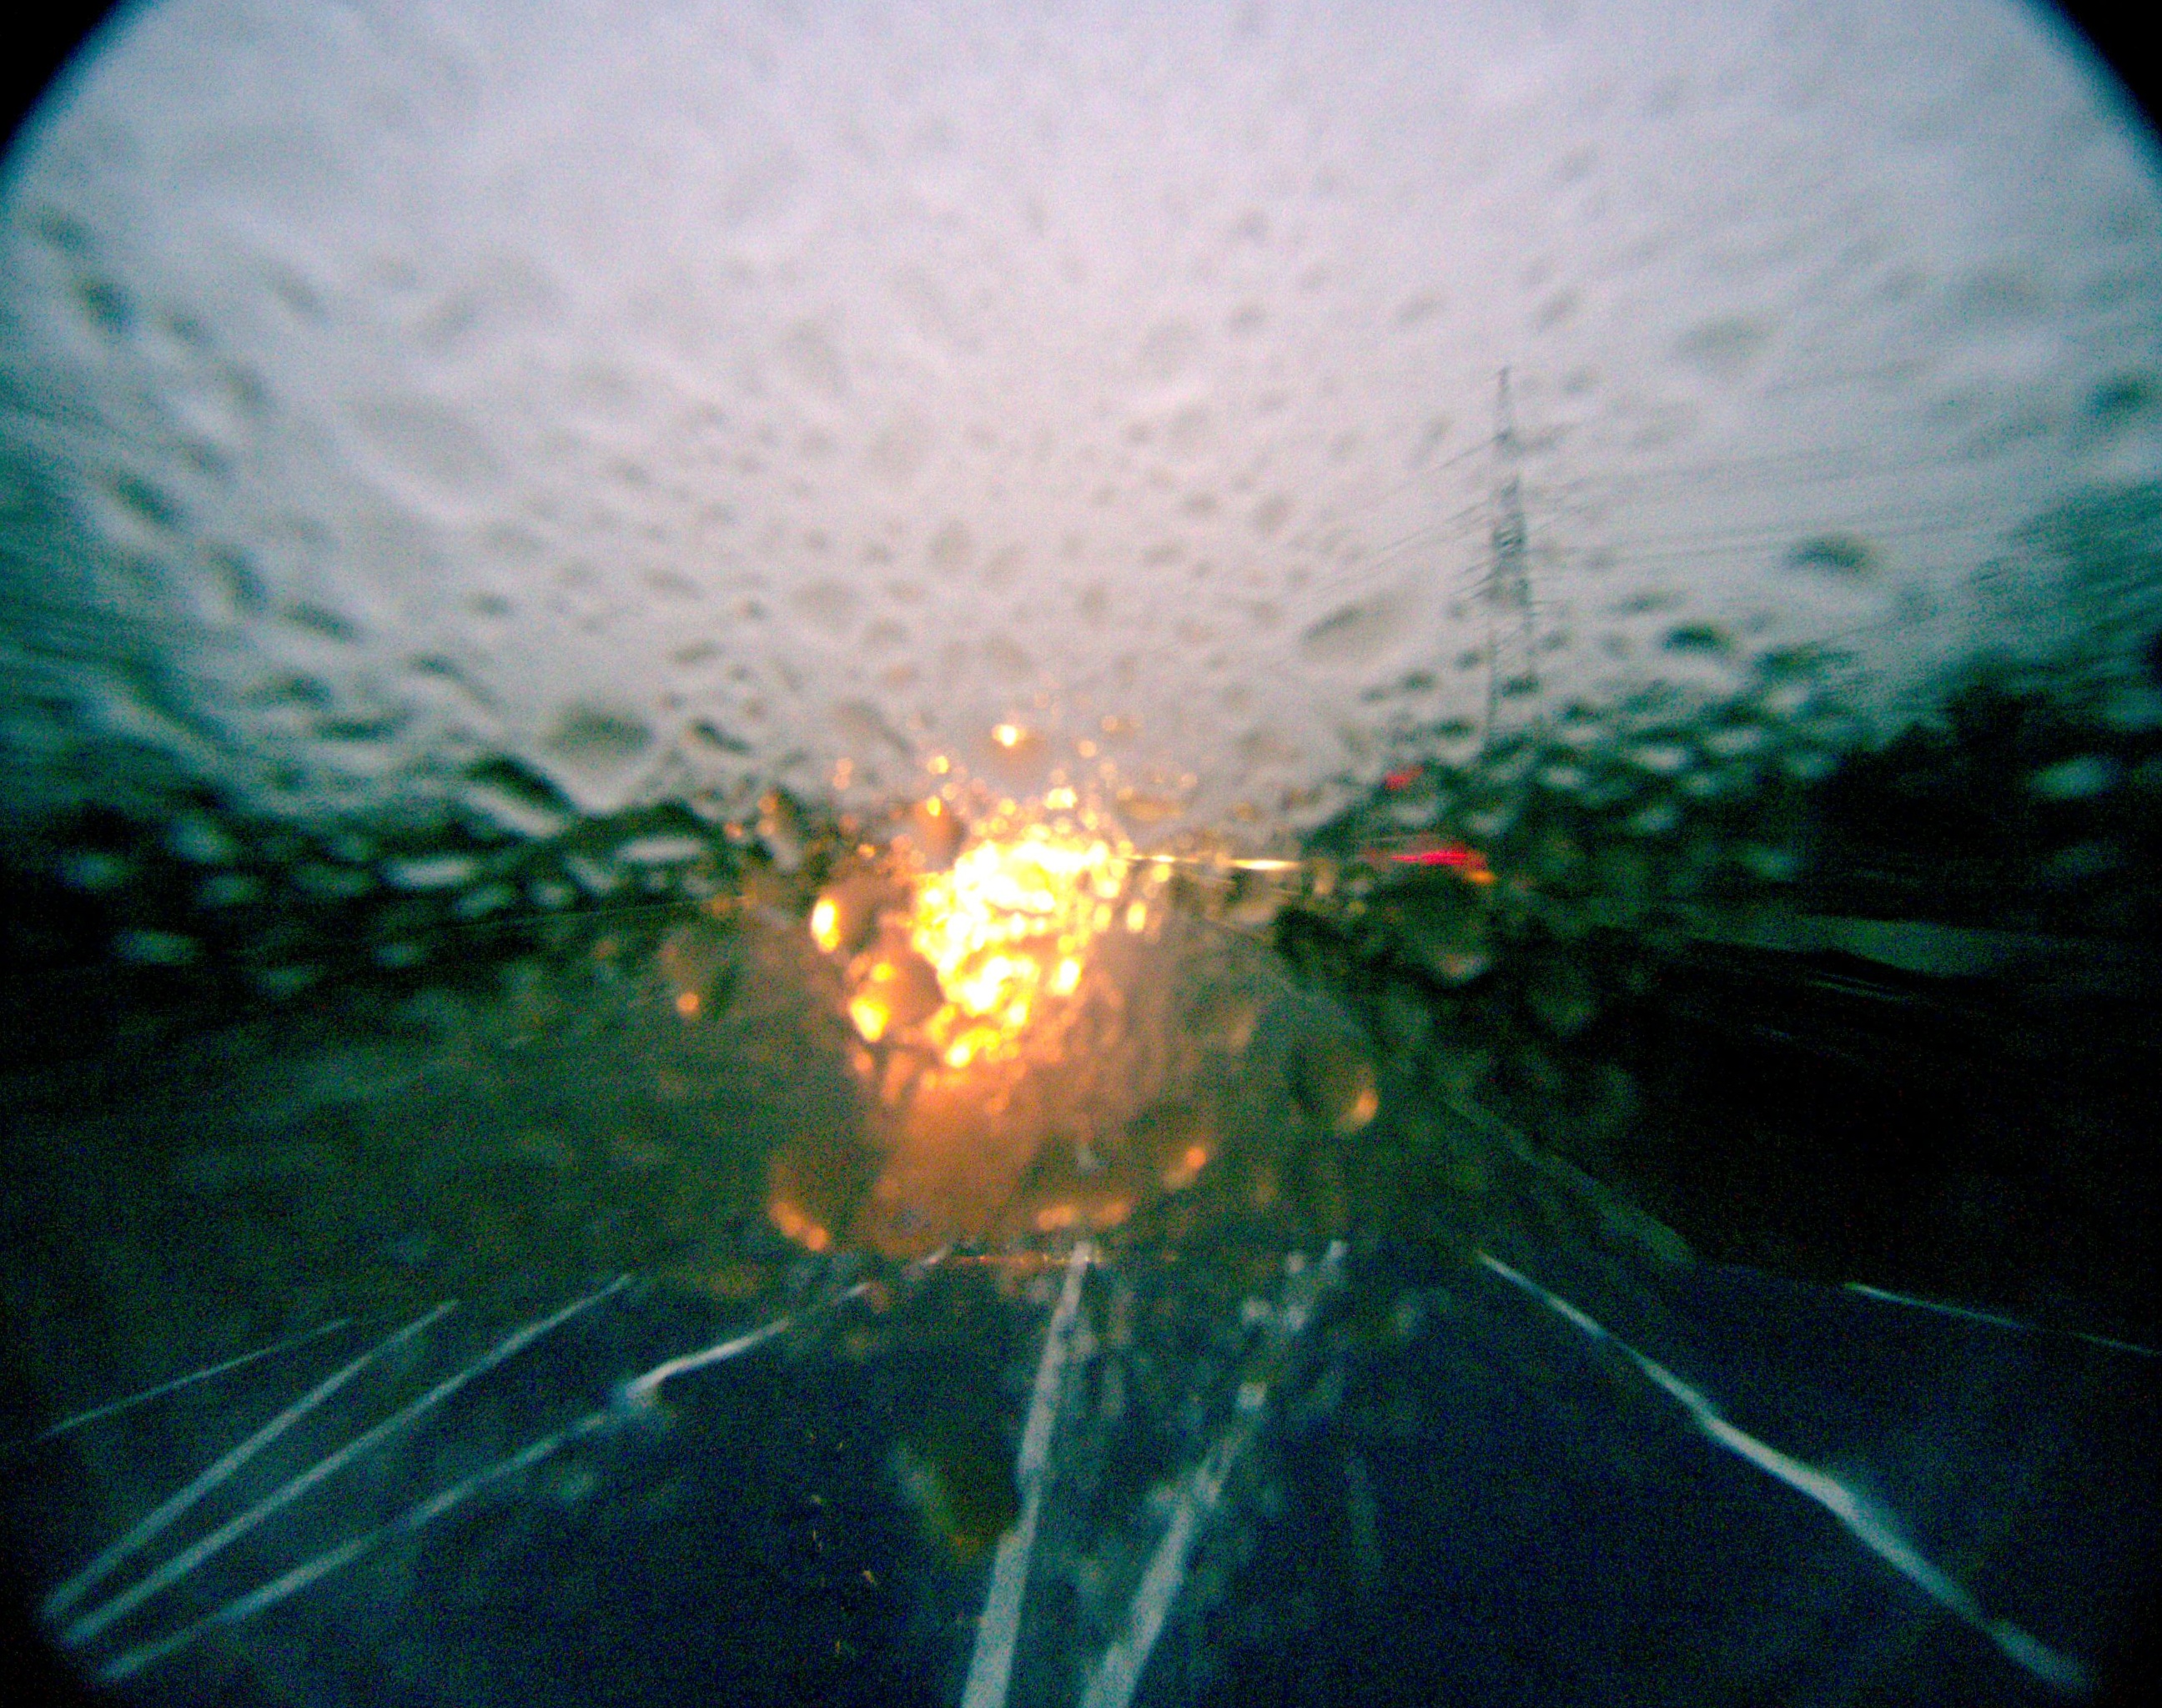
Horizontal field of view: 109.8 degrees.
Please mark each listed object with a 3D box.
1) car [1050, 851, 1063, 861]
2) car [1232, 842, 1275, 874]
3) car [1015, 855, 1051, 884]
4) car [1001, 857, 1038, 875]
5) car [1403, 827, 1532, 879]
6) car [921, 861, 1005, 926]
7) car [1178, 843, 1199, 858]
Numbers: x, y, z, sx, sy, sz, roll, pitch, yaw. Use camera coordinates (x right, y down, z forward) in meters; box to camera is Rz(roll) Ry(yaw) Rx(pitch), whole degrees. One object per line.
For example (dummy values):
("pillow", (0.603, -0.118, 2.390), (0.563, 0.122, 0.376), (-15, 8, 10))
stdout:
("car", (-3.809, 0.274, 120.166), (1.802, 1.494, 4.000), (-2, 0, 1))
("car", (11.716, 0.260, 51.821), (1.998, 1.997, 4.000), (-2, 0, 1))
("car", (-2.689, 0.849, 43.415), (1.682, 1.500, 3.808), (-2, 0, 1))
("car", (-5.598, 1.095, 69.296), (1.790, 1.426, 3.825), (-2, 1, 21))
("car", (11.891, -0.053, 23.749), (1.760, 1.399, 4.409), (-2, 0, 0))
("car", (-3.087, 0.992, 20.537), (1.598, 1.482, 3.594), (-2, 0, 1))
("car", (12.614, -0.395, 89.358), (1.998, 1.572, 4.000), (-3, 1, 2))
